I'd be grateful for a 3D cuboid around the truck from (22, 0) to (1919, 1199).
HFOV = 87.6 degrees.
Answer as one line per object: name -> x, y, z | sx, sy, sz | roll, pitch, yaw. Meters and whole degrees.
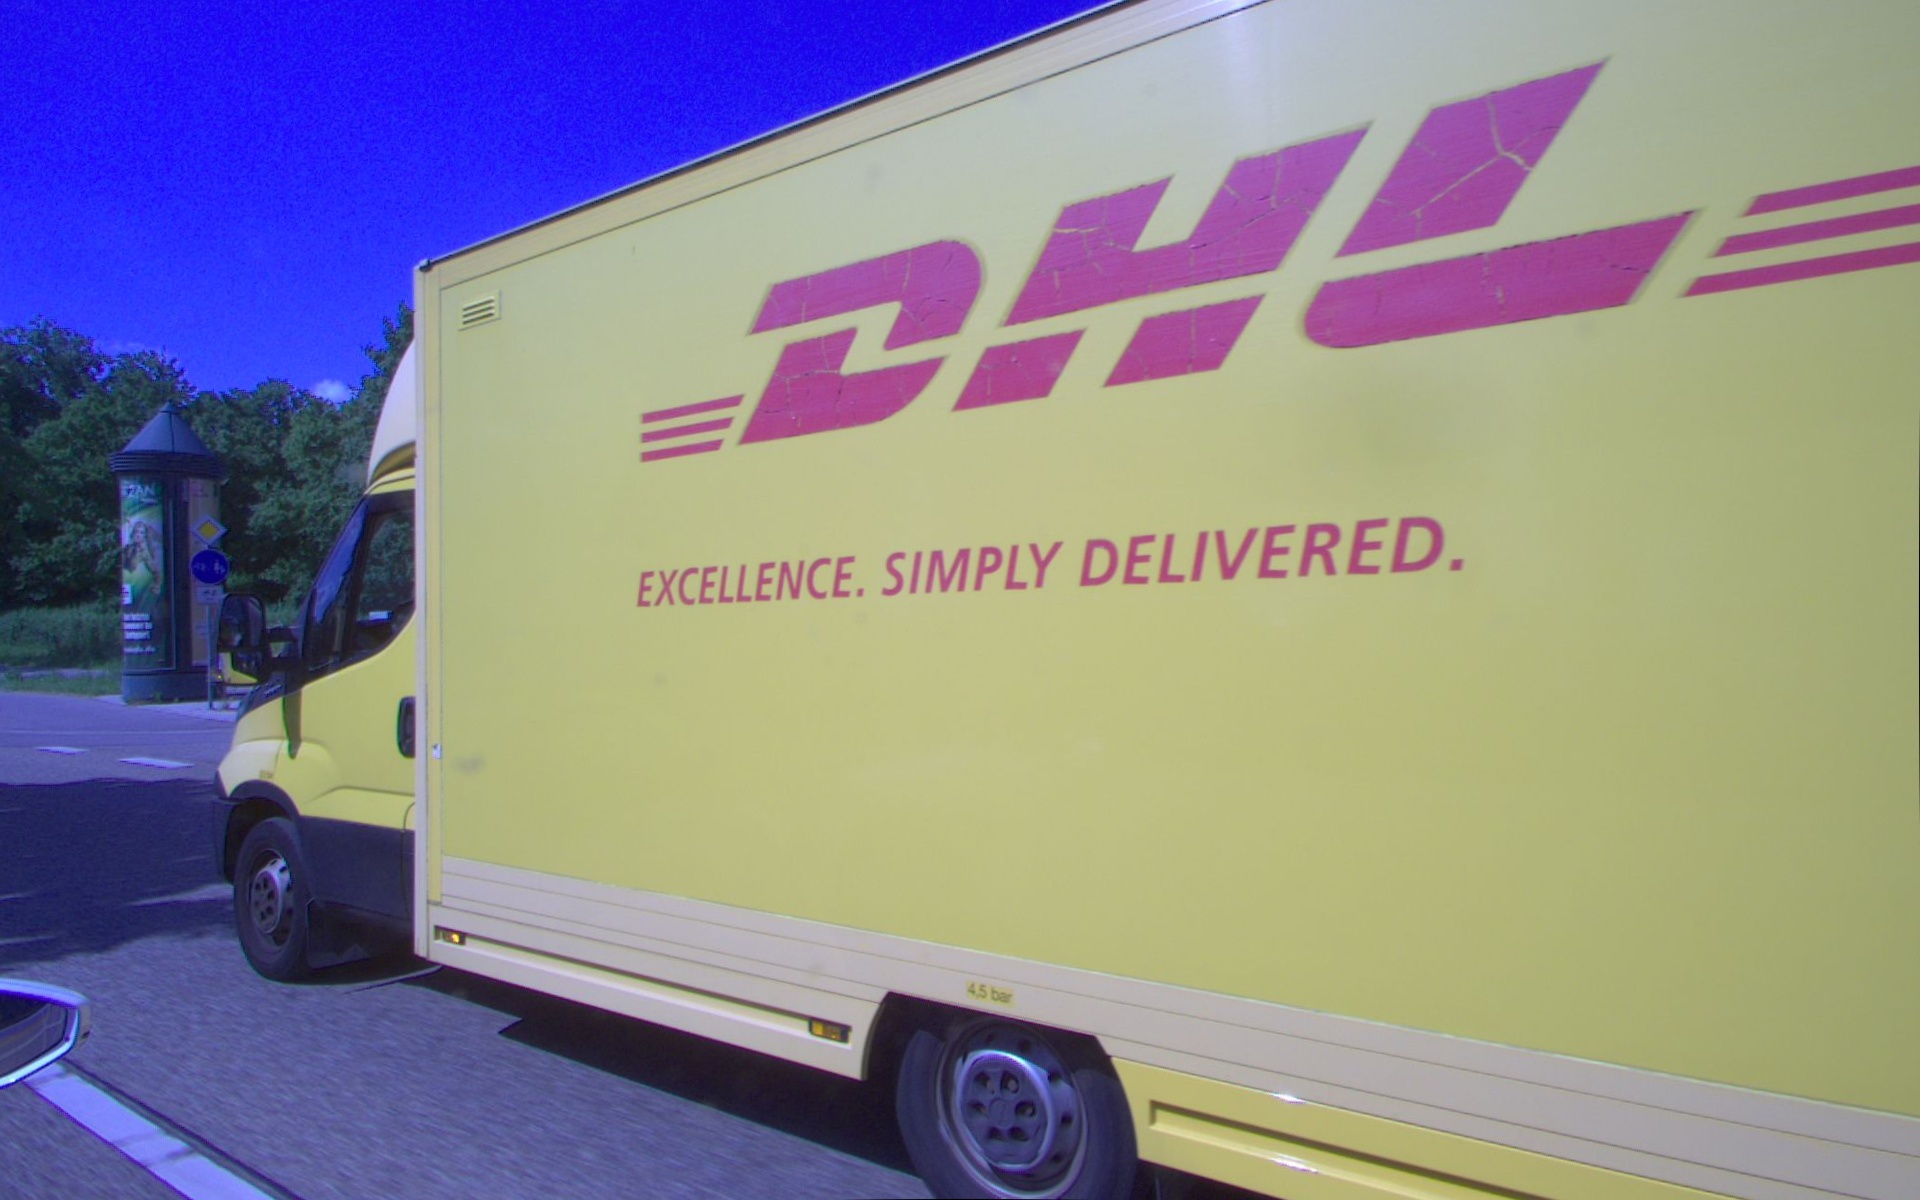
truck -> -1.072, 0.135, 4.273 | 7.911, 2.917, 2.261 | -1, -2, 32
